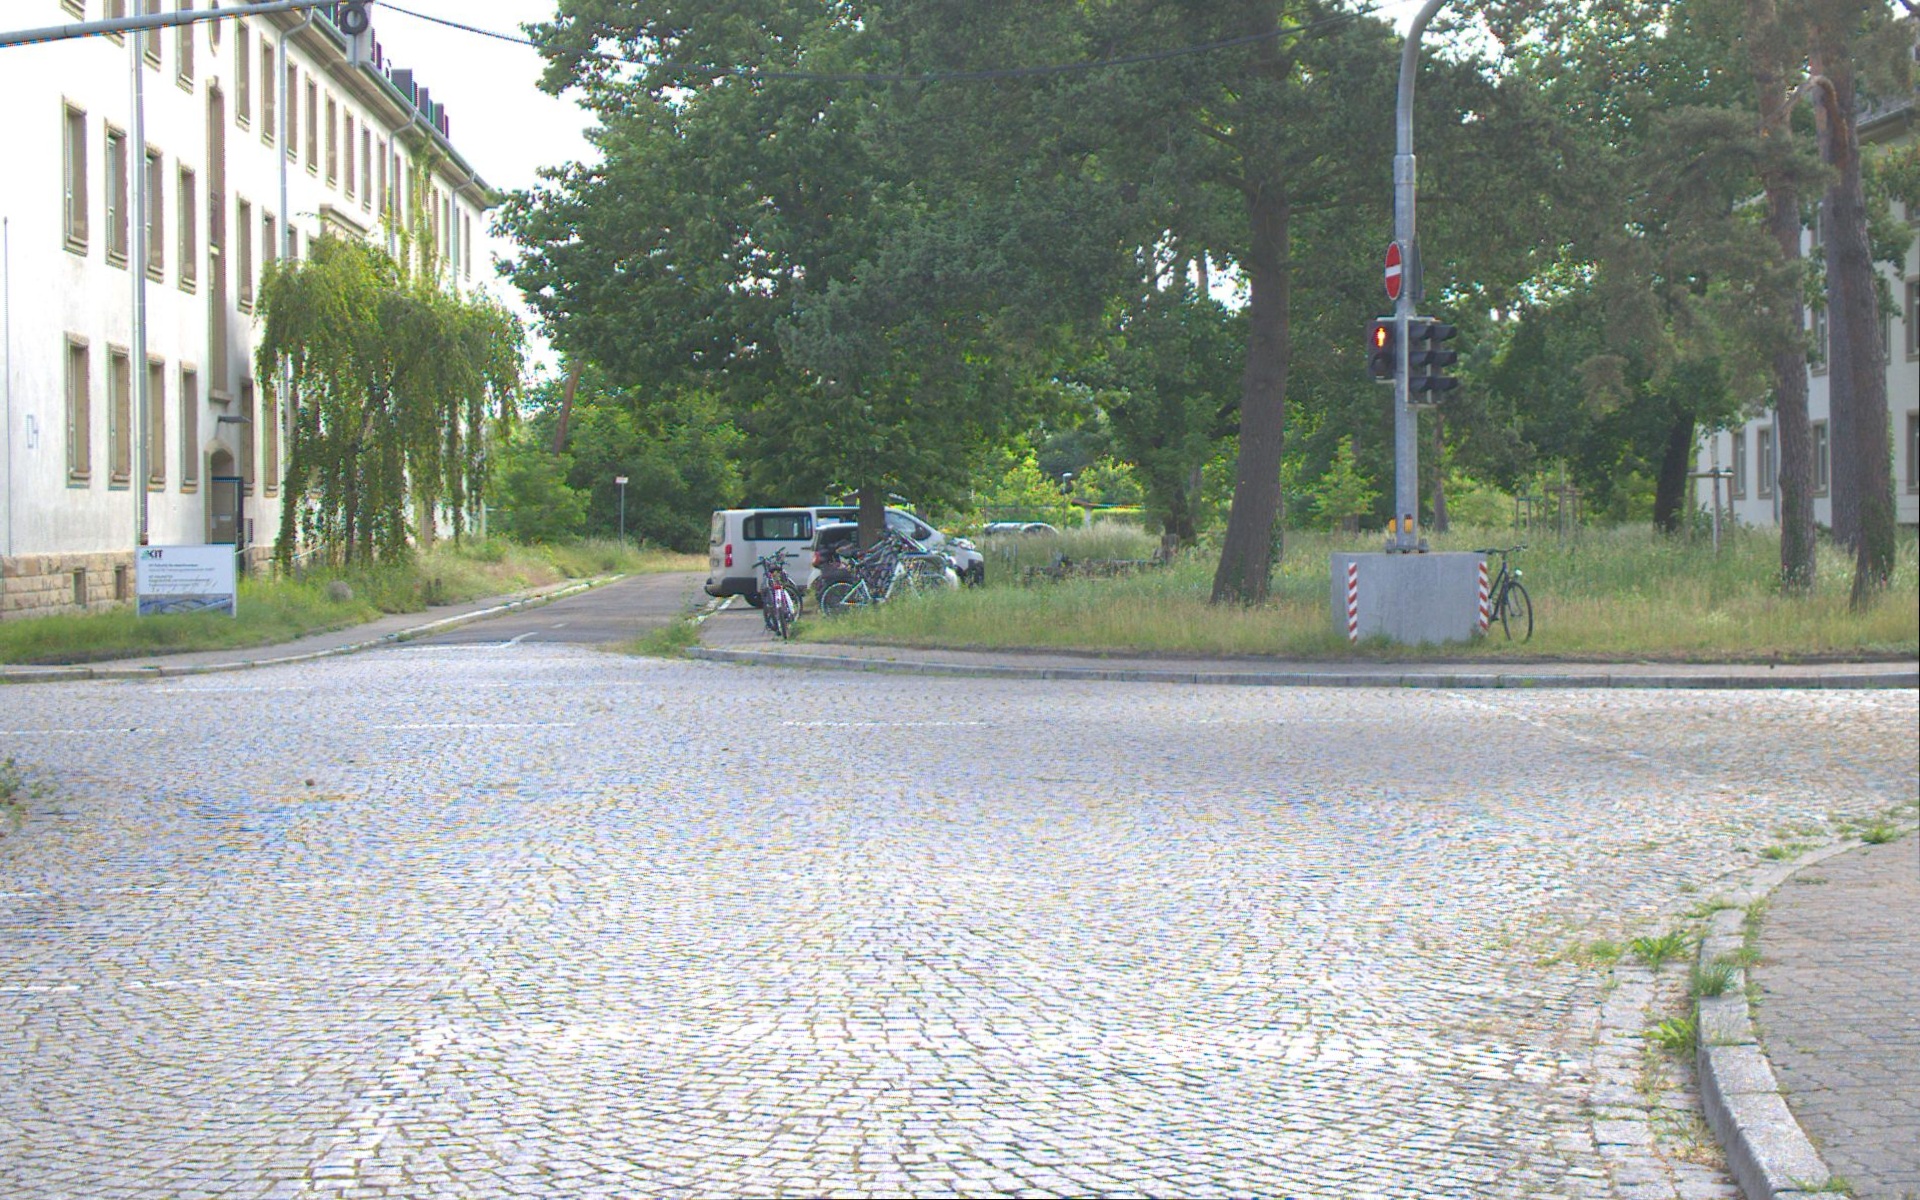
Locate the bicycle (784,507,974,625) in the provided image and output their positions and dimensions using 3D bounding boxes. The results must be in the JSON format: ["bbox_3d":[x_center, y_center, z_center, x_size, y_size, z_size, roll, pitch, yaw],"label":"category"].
[{"bbox_3d":[-1.221,-0.518,52.496,2.776,1.688,1.120,2,1,2],"label":"bicycle"}]

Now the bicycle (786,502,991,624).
[{"bbox_3d":[-1.028,-0.535,48.932,2.775,1.688,1.120,-1,1,-9],"label":"bicycle"}]

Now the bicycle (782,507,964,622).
[{"bbox_3d":[-1.357,-0.563,53.830,2.775,1.688,1.120,2,1,-1],"label":"bicycle"}]

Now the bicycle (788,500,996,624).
[{"bbox_3d":[-0.957,-0.534,47.739,2.775,1.688,1.120,0,1,-7],"label":"bicycle"}]

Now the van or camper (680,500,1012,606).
[{"bbox_3d":[-2.191,-0.922,65.680,6.030,1.942,2.001,-1,1,-15],"label":"van or camper"}]

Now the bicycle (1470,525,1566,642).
[{"bbox_3d":[5.848,-0.191,36.143,0.724,1.165,2.736,2,1,4],"label":"bicycle"}]

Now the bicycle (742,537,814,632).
[{"bbox_3d":[-2.291,-0.216,43.423,0.725,1.104,2.462,-5,1,-1],"label":"bicycle"}]

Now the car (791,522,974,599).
[{"bbox_3d":[-1.423,-0.726,62.127,3.137,1.349,1.620,0,1,-8],"label":"car"}]
